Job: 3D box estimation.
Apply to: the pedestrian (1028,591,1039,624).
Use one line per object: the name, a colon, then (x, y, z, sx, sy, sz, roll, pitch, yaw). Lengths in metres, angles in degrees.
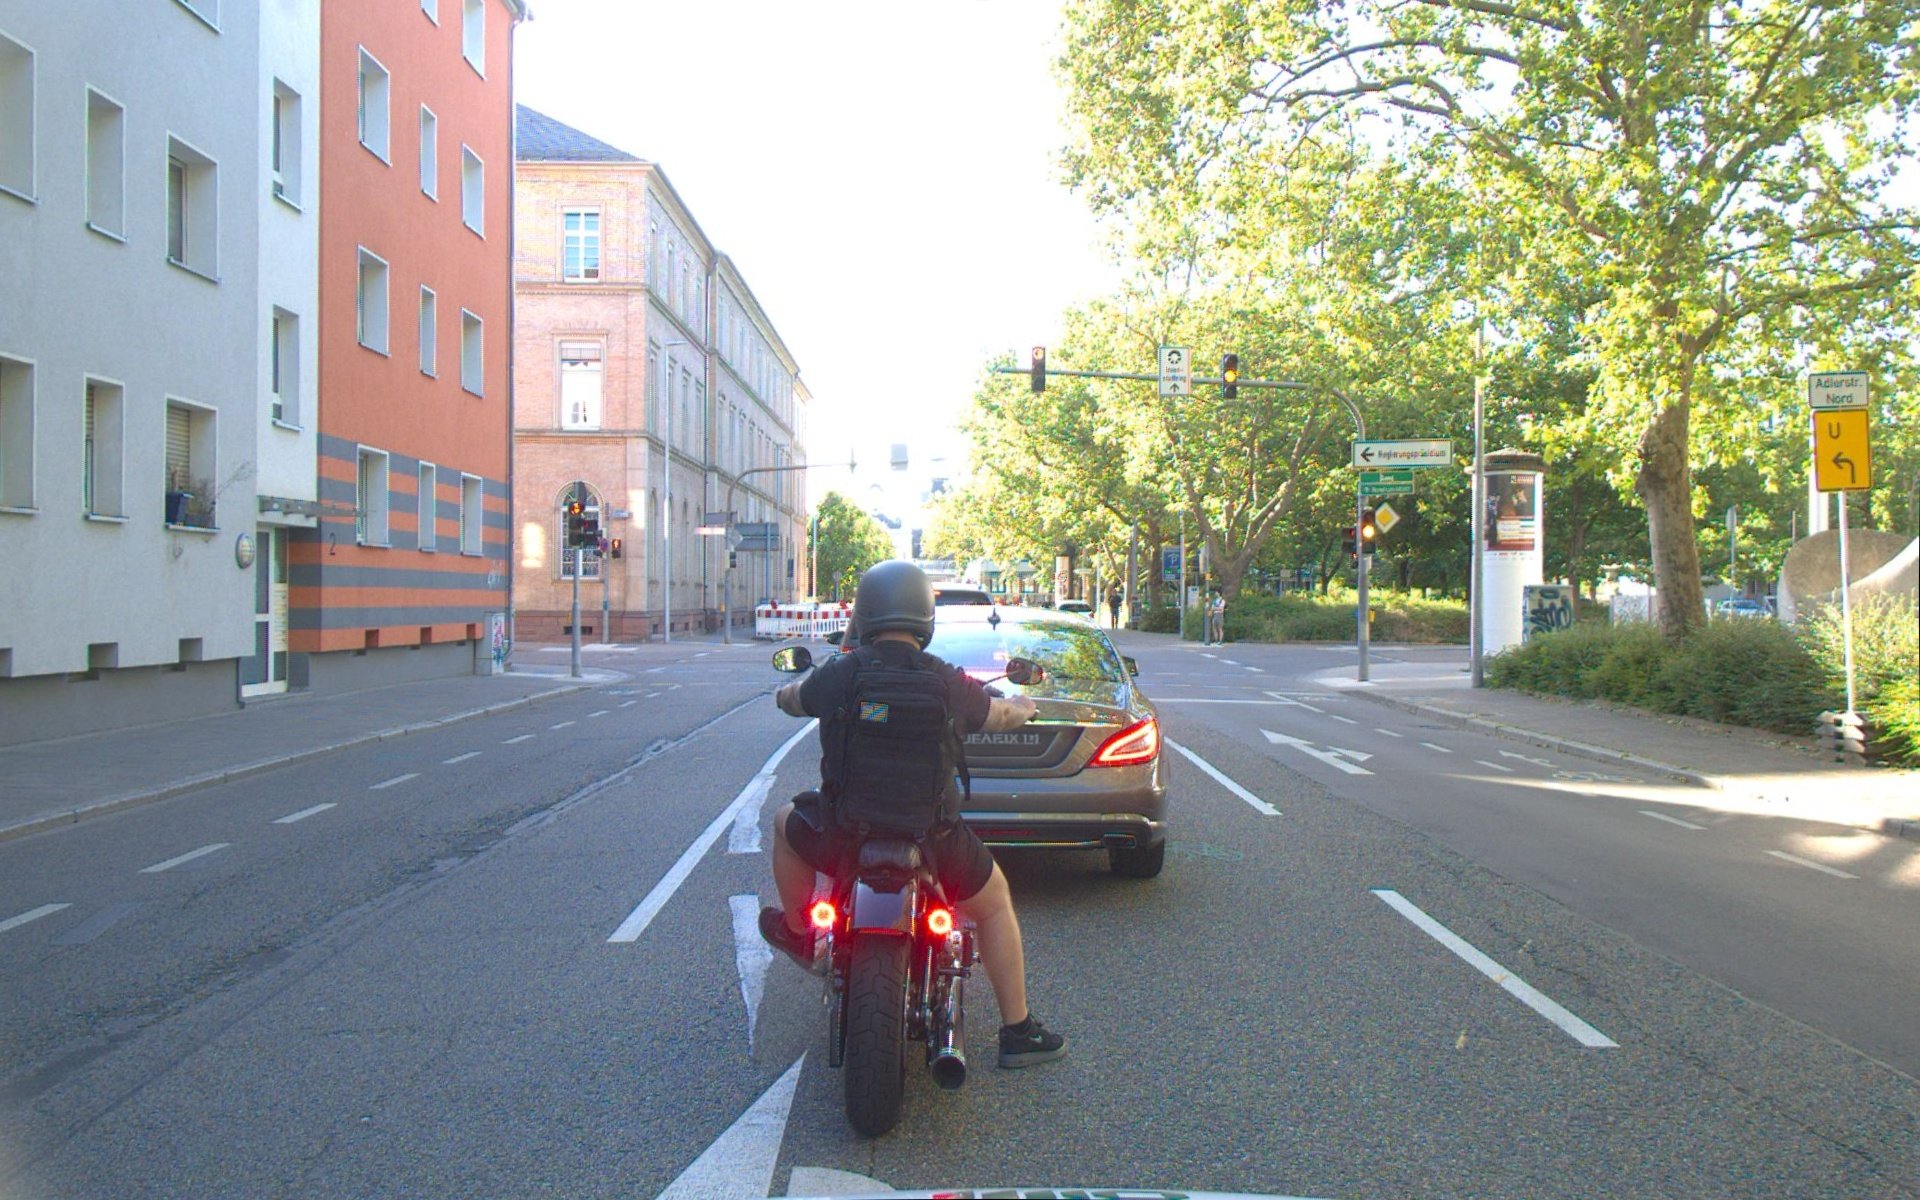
pedestrian: (4.610, 0.494, 103.924, 0.643, 2.049, 0.933, 1, -1, -1)

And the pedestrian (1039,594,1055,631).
pedestrian: (4.893, 0.687, 93.236, 0.797, 2.049, 1.270, 1, 0, -1)

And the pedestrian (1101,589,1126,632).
pedestrian: (7.041, 0.492, 75.925, 0.741, 1.943, 0.917, 1, -1, -29)

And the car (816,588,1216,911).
car: (0.235, 0.689, 9.621, 1.844, 1.475, 3.819, 1, 0, -1)

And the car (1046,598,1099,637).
car: (4.329, 0.657, 64.222, 1.740, 1.453, 3.801, 0, 0, -1)

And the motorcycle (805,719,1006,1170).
motorcycle: (-0.155, 0.964, 5.285, 0.503, 1.020, 2.013, 1, 0, -1)

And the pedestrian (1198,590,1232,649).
pedestrian: (8.220, 0.615, 53.400, 0.980, 1.858, 1.077, 1, -1, 5)

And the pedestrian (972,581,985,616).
pedestrian: (1.129, -0.084, 100.842, 0.748, 2.087, 0.712, 1, -1, -1)

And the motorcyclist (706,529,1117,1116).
motorcyclist: (-0.142, 0.626, 5.272, 1.125, 1.626, 1.288, 1, 0, -1)

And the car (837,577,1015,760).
car: (-0.331, 0.602, 16.730, 1.588, 1.622, 3.999, 0, 0, -1)
